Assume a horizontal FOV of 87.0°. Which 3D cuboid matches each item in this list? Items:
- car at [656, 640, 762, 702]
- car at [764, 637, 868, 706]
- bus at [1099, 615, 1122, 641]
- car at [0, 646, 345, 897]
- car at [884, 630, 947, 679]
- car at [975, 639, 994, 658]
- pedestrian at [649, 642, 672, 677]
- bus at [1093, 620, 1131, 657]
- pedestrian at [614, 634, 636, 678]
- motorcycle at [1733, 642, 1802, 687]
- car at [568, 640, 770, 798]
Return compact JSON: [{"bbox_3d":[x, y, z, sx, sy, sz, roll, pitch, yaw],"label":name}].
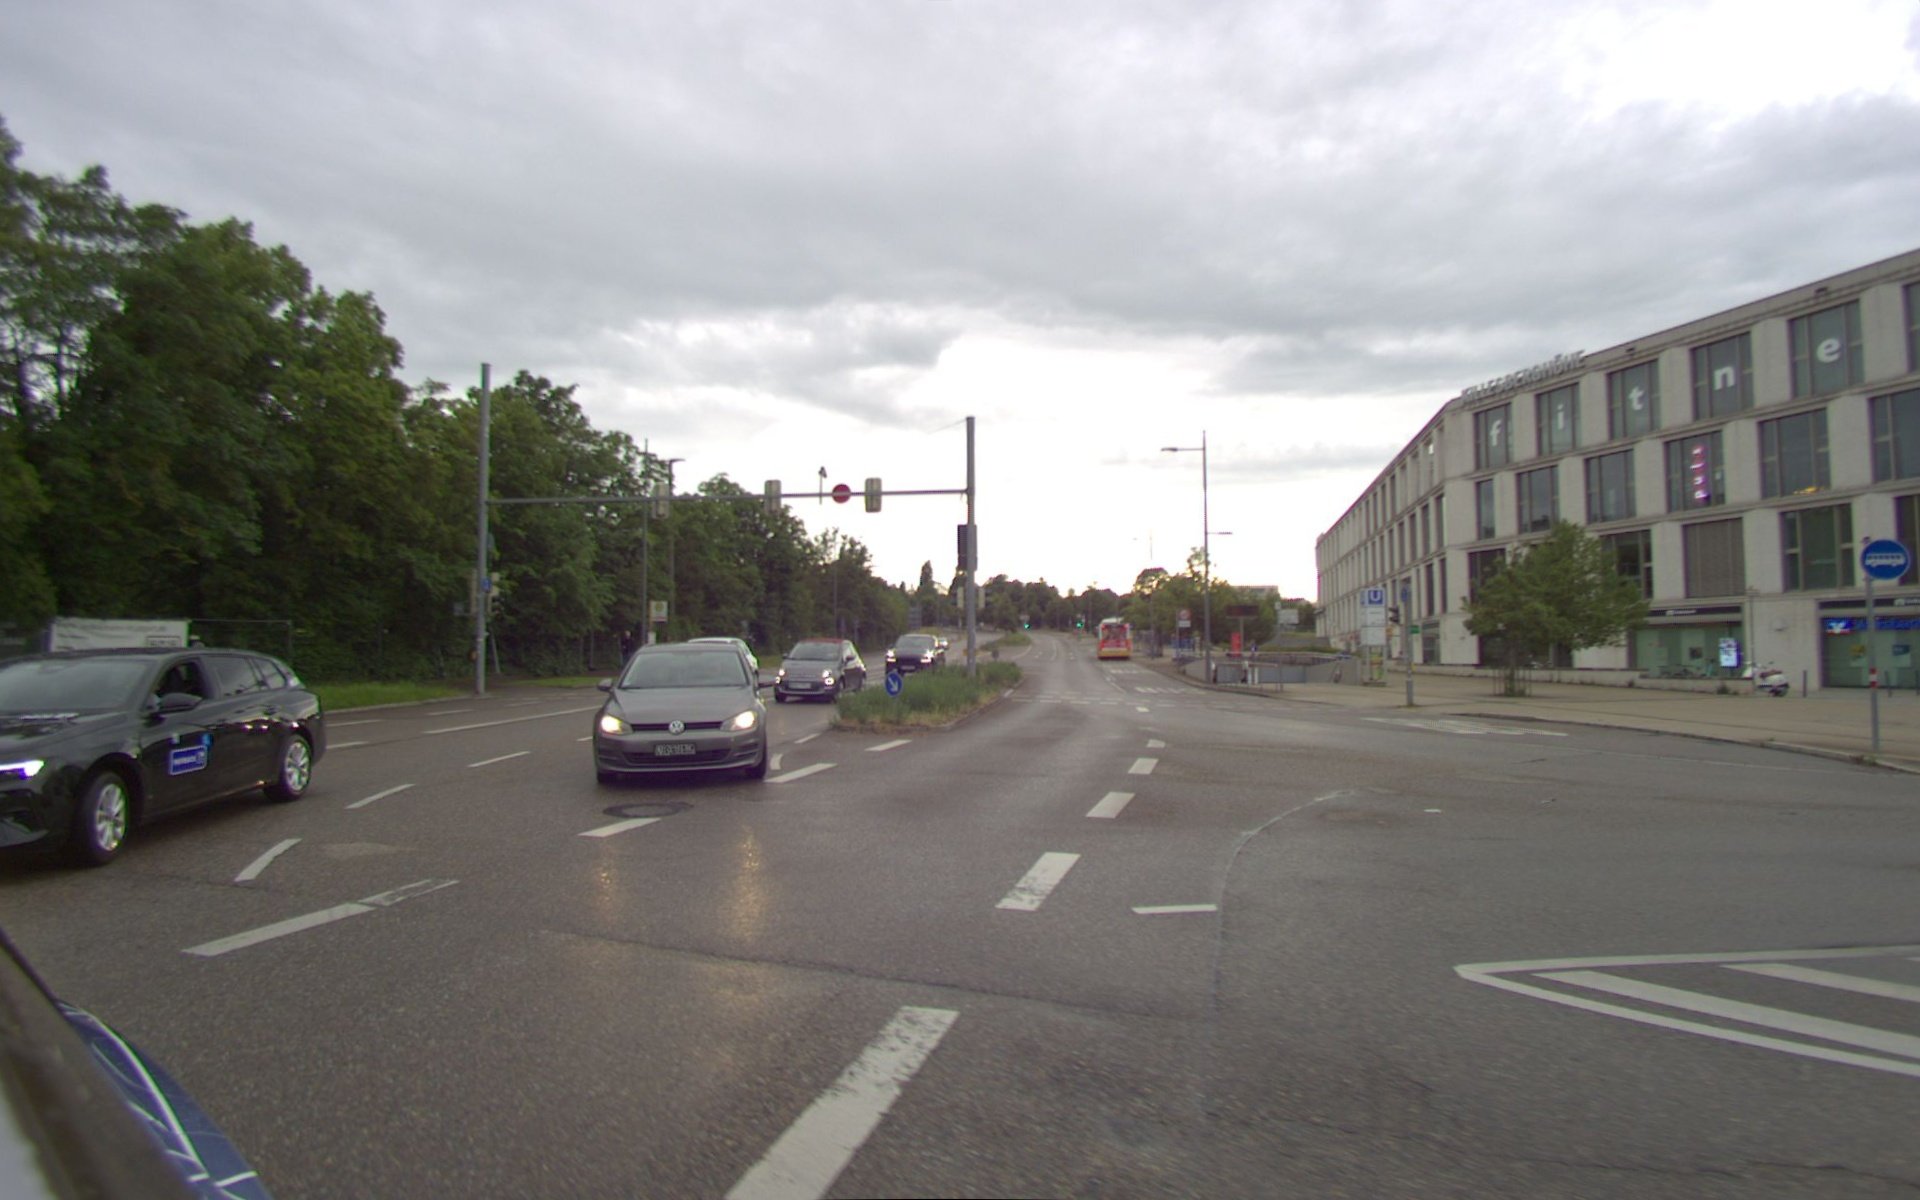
[{"bbox_3d":[-6.604,1.839,26.990,1.626,1.532,3.572,-1,-3,6],"label":"car"},{"bbox_3d":[-3.464,1.708,24.966,1.651,1.541,3.648,-1,-2,7],"label":"car"},{"bbox_3d":[21.633,4.055,146.070,2.783,3.543,9.124,-1,-3,6],"label":"bus"},{"bbox_3d":[-6.736,1.123,7.824,1.777,1.441,4.527,-2,-3,-9],"label":"car"},{"bbox_3d":[-1.692,2.109,39.546,1.884,1.785,3.992,-1,-3,6],"label":"car"},{"bbox_3d":[2.757,5.463,113.512,1.974,2.029,3.995,-2,-3,4],"label":"car"},{"bbox_3d":[-14.788,2.926,49.987,0.812,1.688,0.830,-1,-3,7],"label":"pedestrian"},{"bbox_3d":[13.092,3.334,88.068,2.847,3.012,9.984,-1,-2,7],"label":"bus"},{"bbox_3d":[-14.726,2.471,44.510,0.669,1.898,0.698,-1,-3,7],"label":"pedestrian"},{"bbox_3d":[26.283,2.084,32.945,1.731,1.413,0.528,-1,-3,1],"label":"motorcycle"},{"bbox_3d":[-3.209,1.247,11.744,1.874,1.450,4.009,-1,-3,-12],"label":"car"}]
